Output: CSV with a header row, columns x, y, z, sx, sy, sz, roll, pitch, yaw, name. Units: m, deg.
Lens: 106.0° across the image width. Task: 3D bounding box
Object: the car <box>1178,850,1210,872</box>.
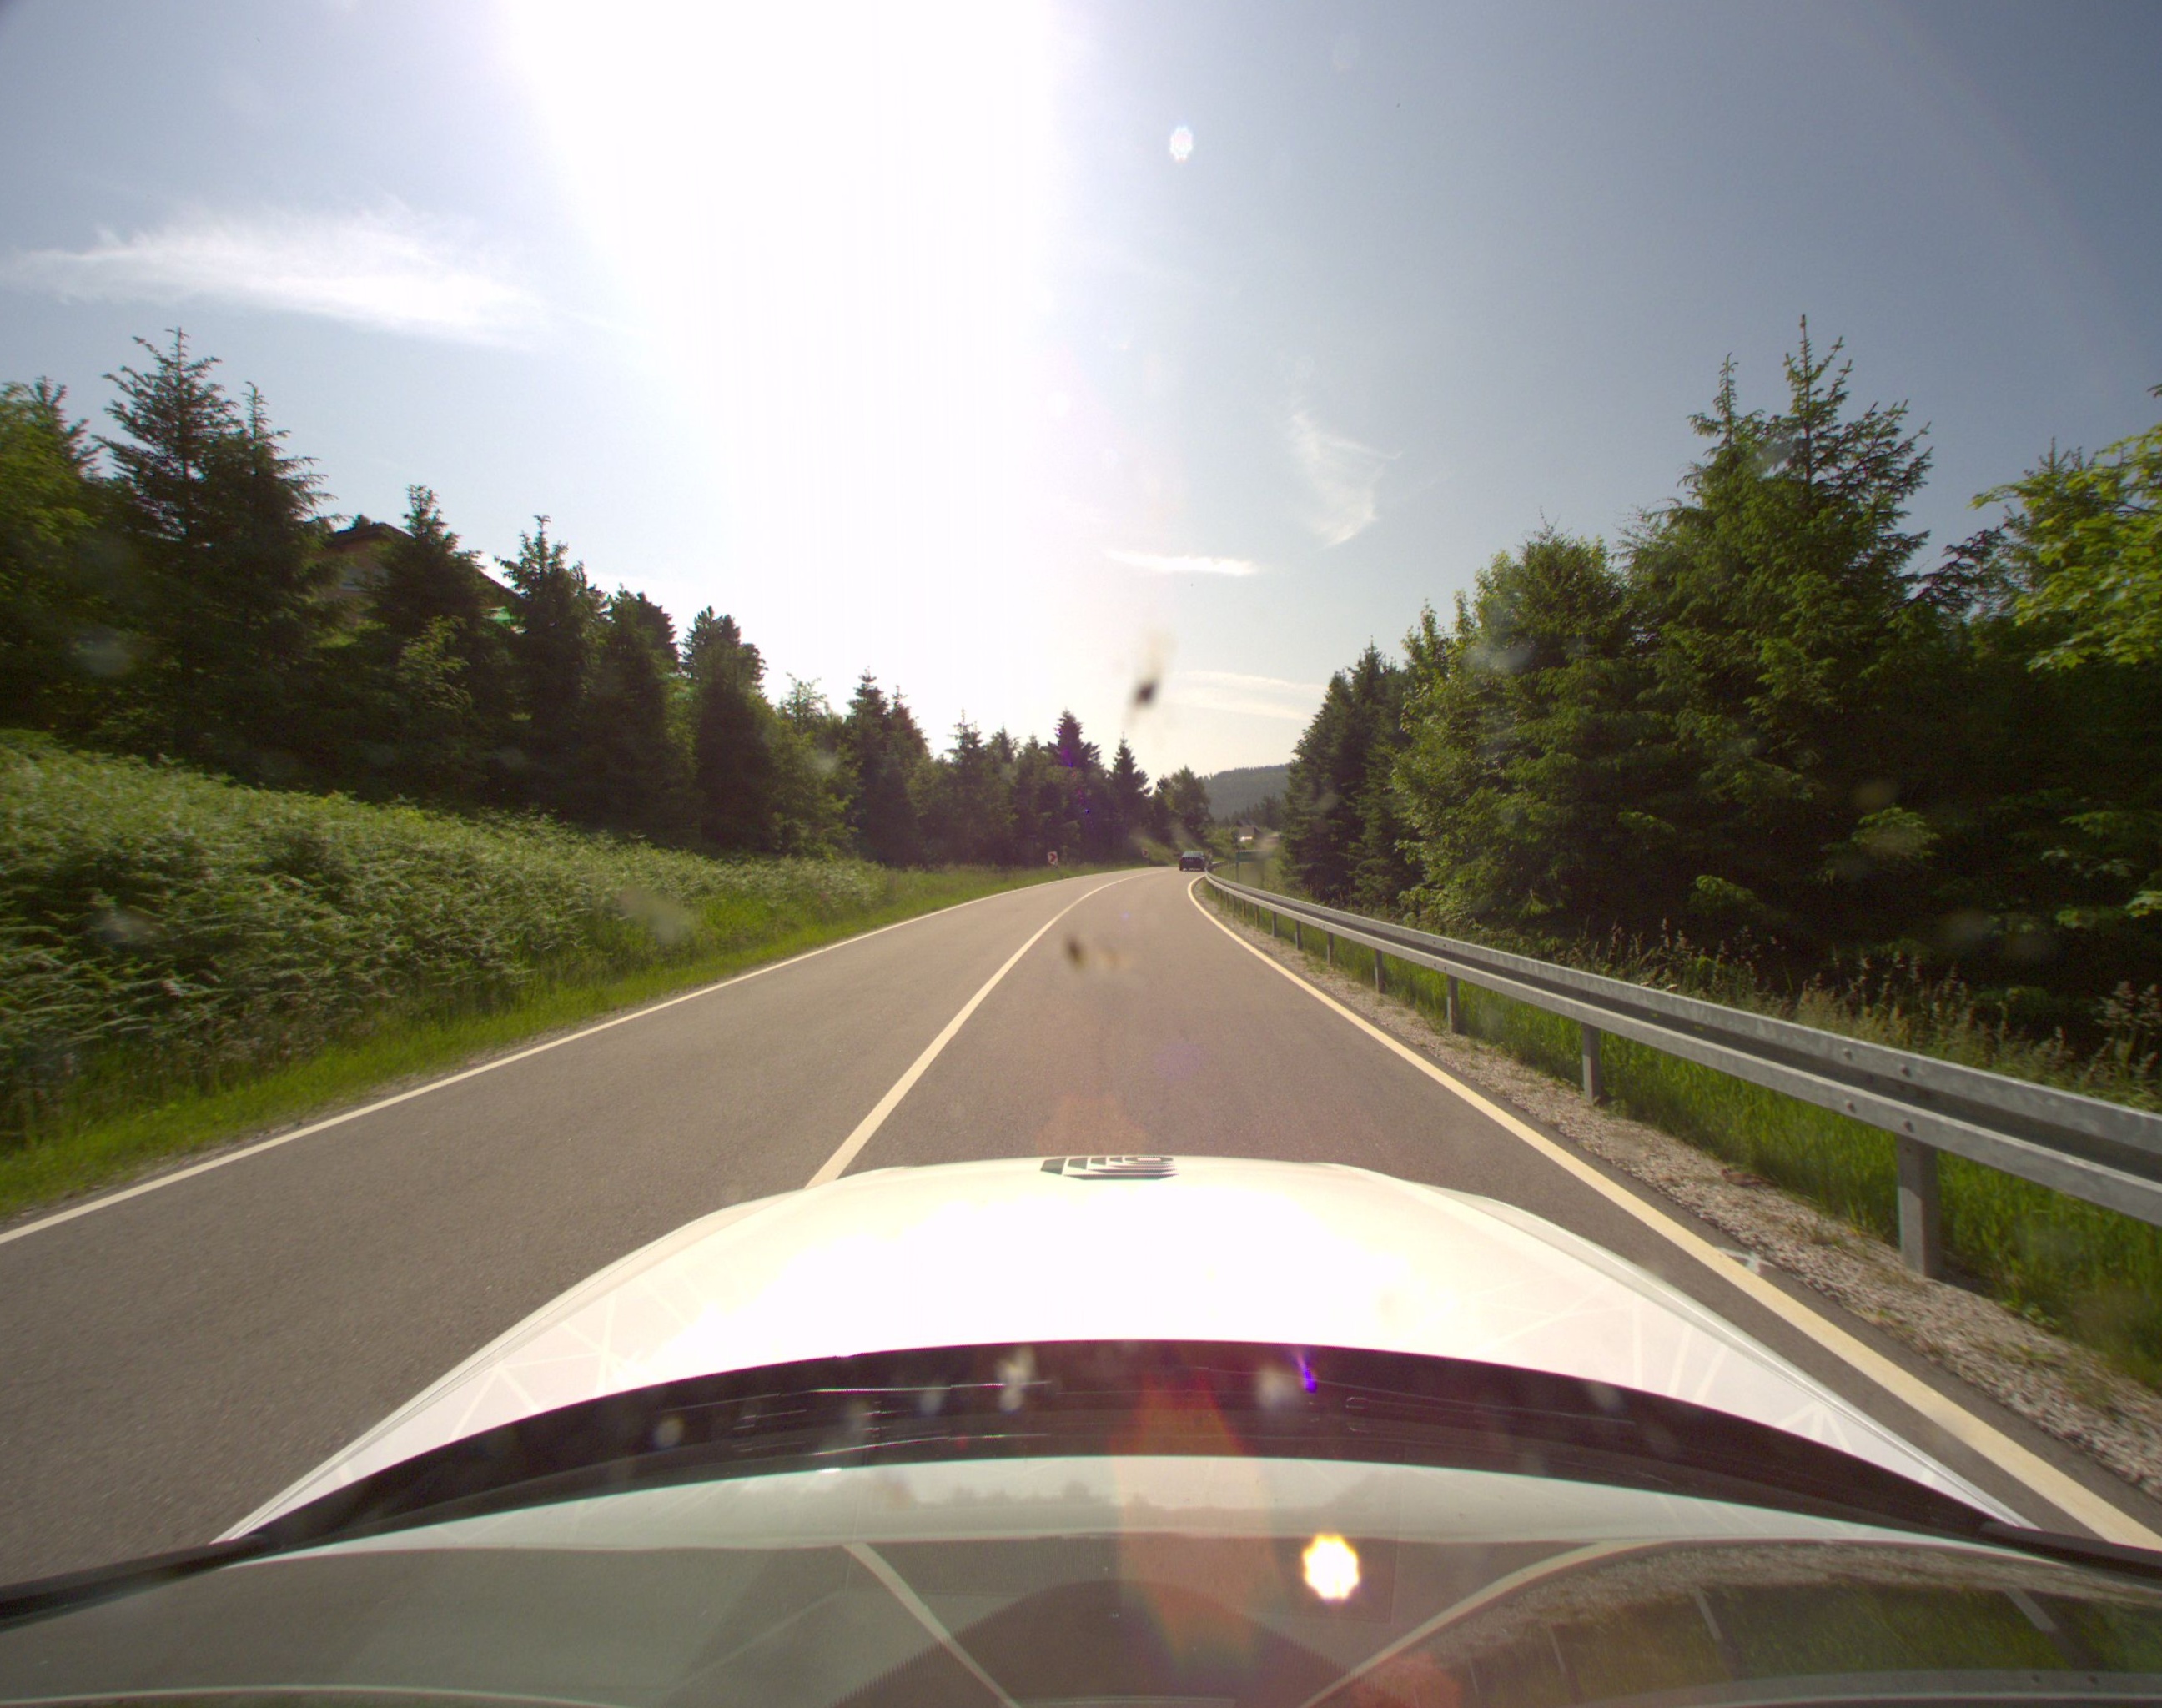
x,y,z,sx,sy,sz,roll,pitch,yaw,name
8.254,0.477,59.191,1.762,1.442,3.725,1,1,16,car
